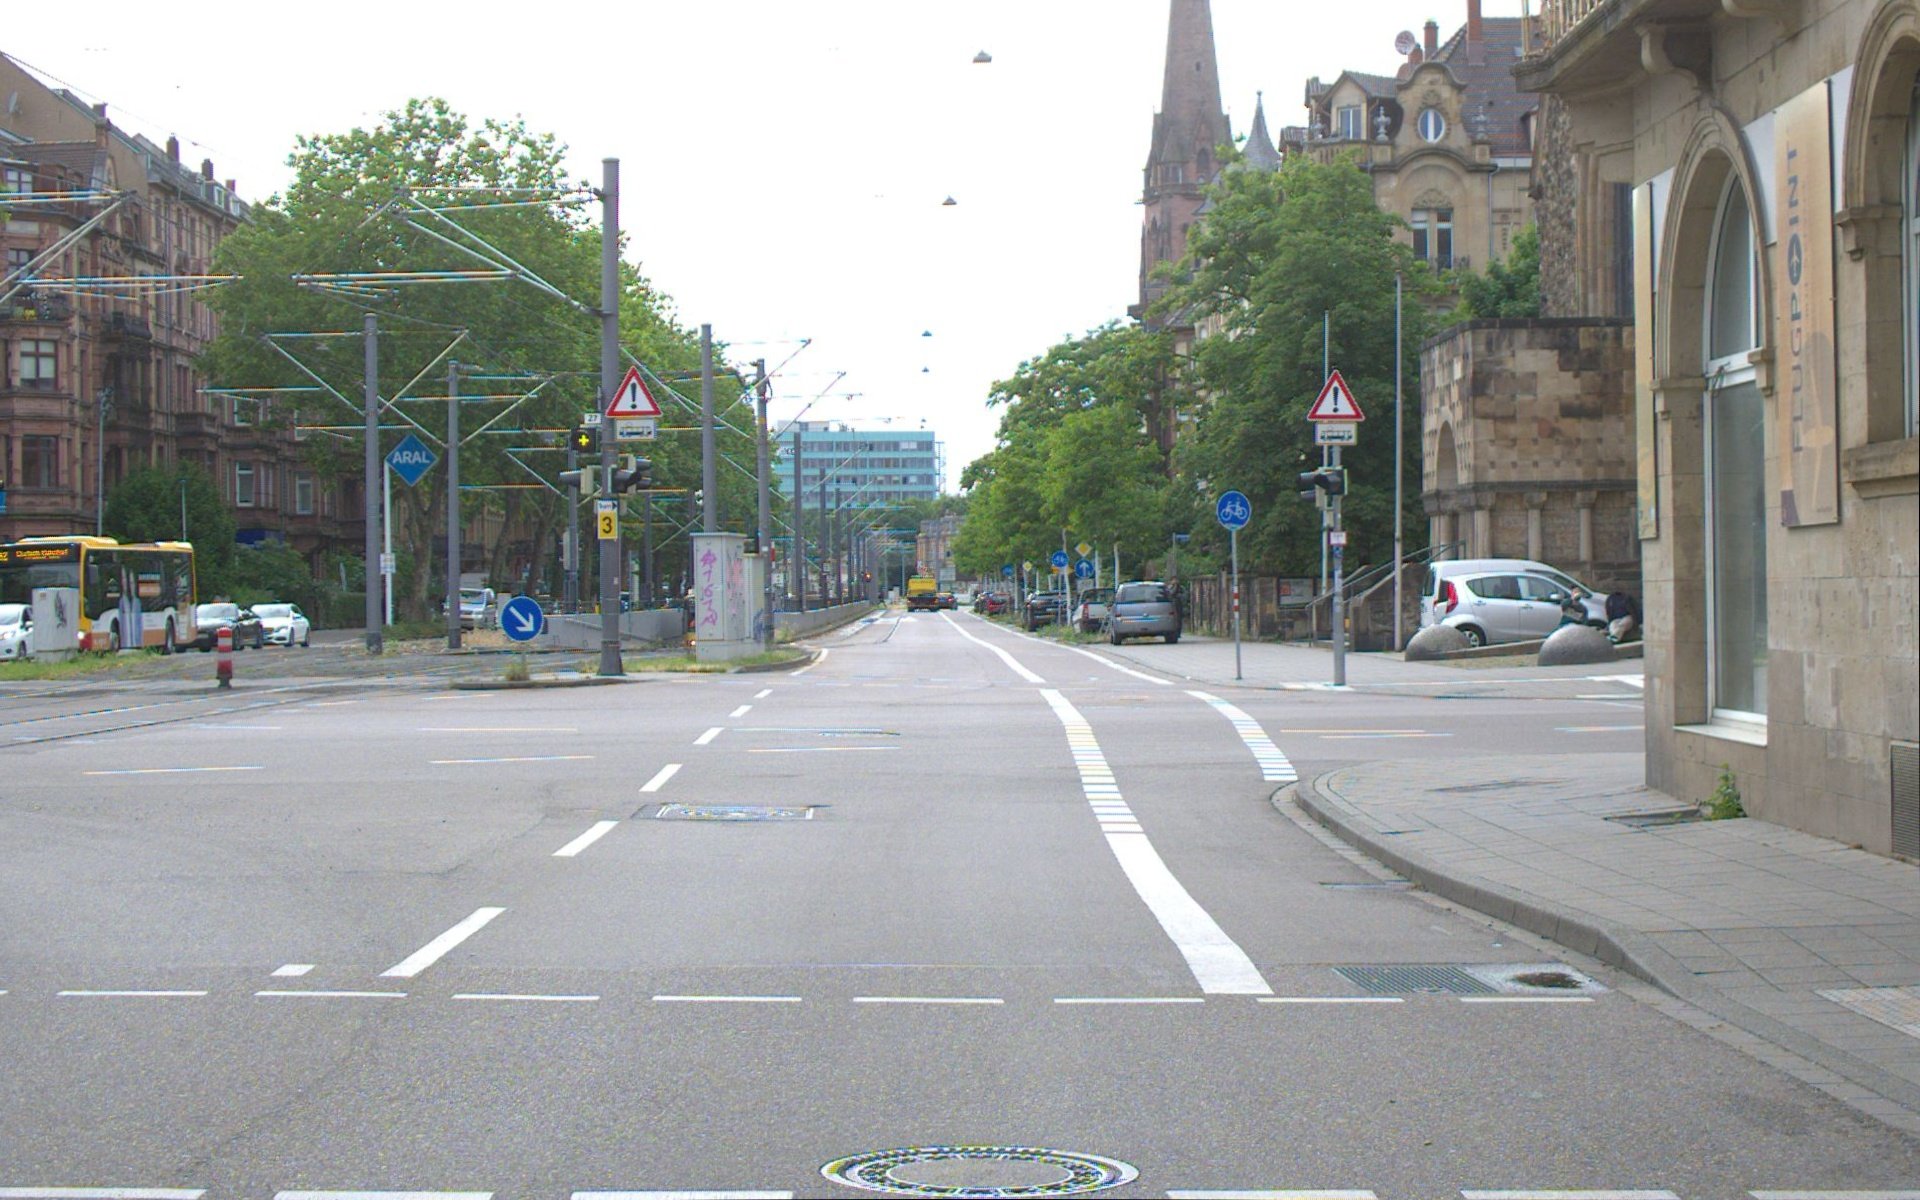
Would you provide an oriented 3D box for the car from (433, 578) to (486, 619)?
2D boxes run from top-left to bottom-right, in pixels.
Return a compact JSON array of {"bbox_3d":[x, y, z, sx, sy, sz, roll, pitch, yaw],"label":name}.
[{"bbox_3d":[-21.721,-0.071,149.219,1.702,1.706,3.890,1,0,0],"label":"car"}]

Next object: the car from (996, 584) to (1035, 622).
[{"bbox_3d":[3.063,0.154,190.658,1.993,2.007,4.000,1,0,-2],"label":"car"}]

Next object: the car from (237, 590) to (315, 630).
[{"bbox_3d":[-21.743,0.317,109.433,1.702,1.217,3.890,1,0,0],"label":"car"}]

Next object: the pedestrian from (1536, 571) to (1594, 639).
[{"bbox_3d":[10.682,0.085,60.750,0.736,1.187,1.493,1,0,0],"label":"pedestrian"}]

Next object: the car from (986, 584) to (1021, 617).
[{"bbox_3d":[2.659,0.015,210.394,1.993,1.919,4.000,1,0,-2],"label":"car"}]

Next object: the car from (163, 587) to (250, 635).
[{"bbox_3d":[-22.292,0.307,101.841,1.702,1.354,3.890,1,0,0],"label":"car"}]

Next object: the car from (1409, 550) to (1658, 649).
[{"bbox_3d":[11.323,-0.021,68.093,4.610,1.875,1.663,1,0,-1],"label":"car"}]

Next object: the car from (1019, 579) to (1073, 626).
[{"bbox_3d":[3.381,0.093,135.964,1.993,1.814,4.000,0,0,-1],"label":"car"}]

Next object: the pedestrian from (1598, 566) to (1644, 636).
[{"bbox_3d":[11.845,0.018,61.591,0.737,1.224,1.062,1,0,14],"label":"pedestrian"}]

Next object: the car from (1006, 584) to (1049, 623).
[{"bbox_3d":[3.380,0.170,172.195,1.993,1.875,4.000,0,0,-1],"label":"car"}]

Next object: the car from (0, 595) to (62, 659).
[{"bbox_3d":[-22.008,0.600,79.033,1.702,1.393,3.890,1,0,0],"label":"car"}]

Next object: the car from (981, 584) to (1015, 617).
[{"bbox_3d":[2.380,0.025,218.064,1.993,2.007,4.000,1,0,-2],"label":"car"}]

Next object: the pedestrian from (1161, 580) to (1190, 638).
[{"bbox_3d":[6.189,0.258,98.686,0.776,1.641,0.798,1,0,6],"label":"pedestrian"}]

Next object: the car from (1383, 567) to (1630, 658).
[{"bbox_3d":[10.242,0.223,64.624,4.348,1.630,1.663,1,0,-1],"label":"car"}]
